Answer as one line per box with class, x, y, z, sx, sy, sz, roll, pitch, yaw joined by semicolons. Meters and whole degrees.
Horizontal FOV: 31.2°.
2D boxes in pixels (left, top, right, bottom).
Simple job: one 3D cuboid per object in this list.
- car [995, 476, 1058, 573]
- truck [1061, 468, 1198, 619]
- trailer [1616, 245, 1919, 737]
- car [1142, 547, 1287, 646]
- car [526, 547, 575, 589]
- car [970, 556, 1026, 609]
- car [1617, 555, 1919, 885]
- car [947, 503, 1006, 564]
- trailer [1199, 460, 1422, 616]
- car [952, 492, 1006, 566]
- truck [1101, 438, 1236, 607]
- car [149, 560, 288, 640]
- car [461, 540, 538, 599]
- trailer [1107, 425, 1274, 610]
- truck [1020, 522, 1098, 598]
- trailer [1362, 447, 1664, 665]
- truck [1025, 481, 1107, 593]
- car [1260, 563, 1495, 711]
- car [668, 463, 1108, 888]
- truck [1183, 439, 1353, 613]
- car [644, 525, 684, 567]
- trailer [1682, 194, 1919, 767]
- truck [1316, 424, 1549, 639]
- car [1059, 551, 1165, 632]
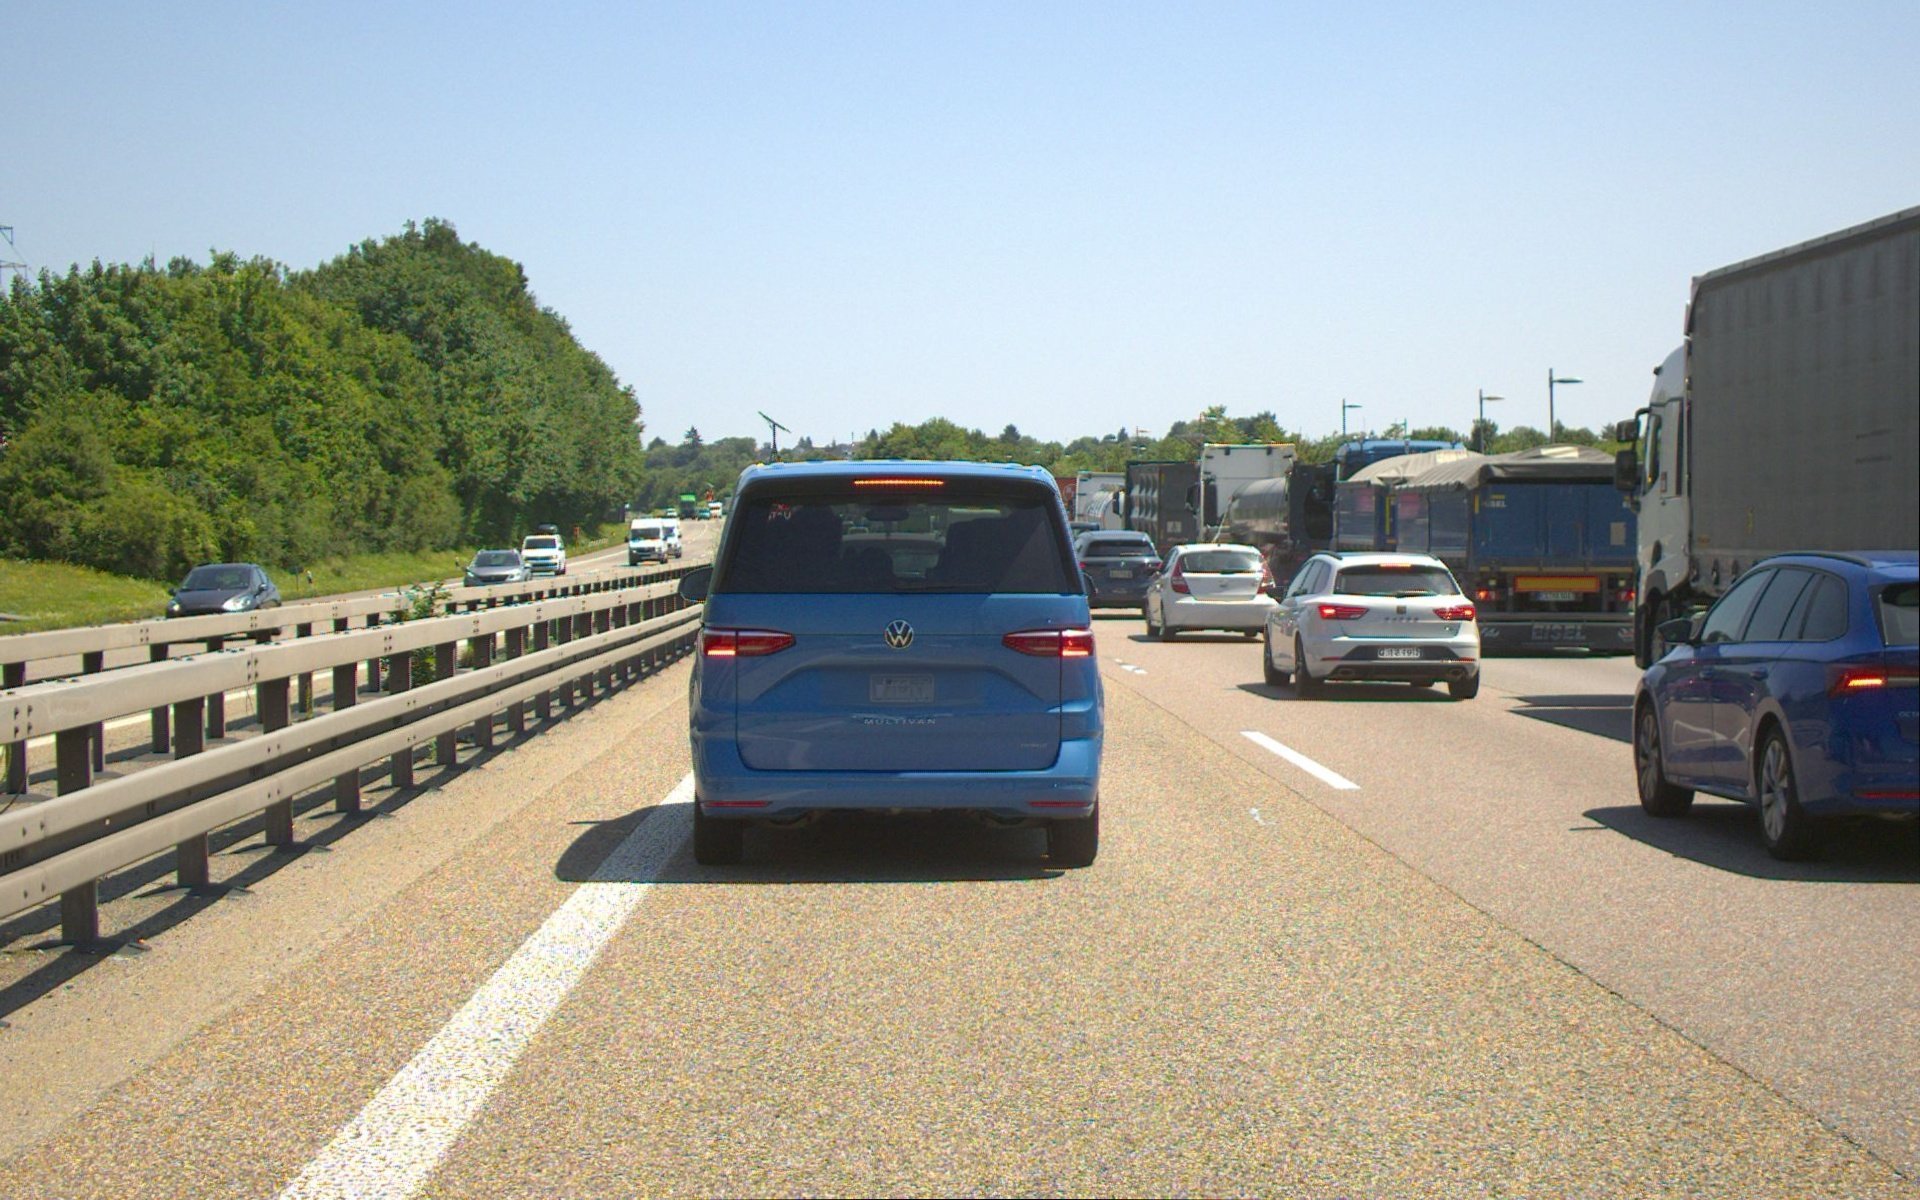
car;3.685;-4.162;192.781;3.218;5.239;8.144;1;0;-1
truck;6.114;-1.984;127.175;3.621;5.195;15.690;1;0;-2
trailer;8.127;-0.950;31.437;2.924;4.030;6.411;0;1;-1
car;3.886;-0.055;52.998;1.840;1.449;4.000;1;0;-1
car;-19.861;-1.543;166.805;1.864;1.898;5.493;-2;0;-2
car;1.462;-0.690;133.715;1.993;2.007;4.000;1;0;-1
car;4.597;0.528;17.248;1.706;1.436;4.428;1;0;0
car;0.736;-3.058;159.515;2.550;2.708;5.621;1;0;-1
trailer;7.548;-1.259;76.518;3.646;3.068;15.771;1;0;1
car;1.350;-5.118;249.865;3.218;5.239;8.145;1;0;-4
truck;6.554;-2.405;108.921;3.658;5.162;5.709;1;0;-2
car;-14.287;0.001;66.454;1.876;1.441;4.145;-2;0;-2
car;-13.089;-0.862;97.902;1.773;1.625;3.951;1;0;-2
trailer;6.748;-2.328;102.927;3.646;5.119;13.076;1;0;-2
truck;2.472;-0.991;86.503;1.725;1.851;4.000;1;0;-1
trailer;7.823;-0.707;49.868;2.743;2.827;9.116;1;2;-1
truck;4.758;-2.774;156.207;3.068;4.903;10.691;1;0;-1
car;4.120;0.328;34.492;1.867;1.356;4.000;1;1;0
car;-0.303;0.325;17.037;1.901;1.831;4.000;1;0;0
truck;7.558;-1.757;85.365;3.626;4.080;7.524;1;0;1
car;-19.264;-3.487;224.050;2.155;2.585;5.890;-1;0;-1
trailer;8.234;-0.847;24.825;2.962;4.035;13.753;0;1;-1
truck;7.716;-1.160;57.029;2.743;3.300;7.133;1;2;-1
car;2.938;-0.165;67.036;1.781;1.519;4.000;1;0;-1
